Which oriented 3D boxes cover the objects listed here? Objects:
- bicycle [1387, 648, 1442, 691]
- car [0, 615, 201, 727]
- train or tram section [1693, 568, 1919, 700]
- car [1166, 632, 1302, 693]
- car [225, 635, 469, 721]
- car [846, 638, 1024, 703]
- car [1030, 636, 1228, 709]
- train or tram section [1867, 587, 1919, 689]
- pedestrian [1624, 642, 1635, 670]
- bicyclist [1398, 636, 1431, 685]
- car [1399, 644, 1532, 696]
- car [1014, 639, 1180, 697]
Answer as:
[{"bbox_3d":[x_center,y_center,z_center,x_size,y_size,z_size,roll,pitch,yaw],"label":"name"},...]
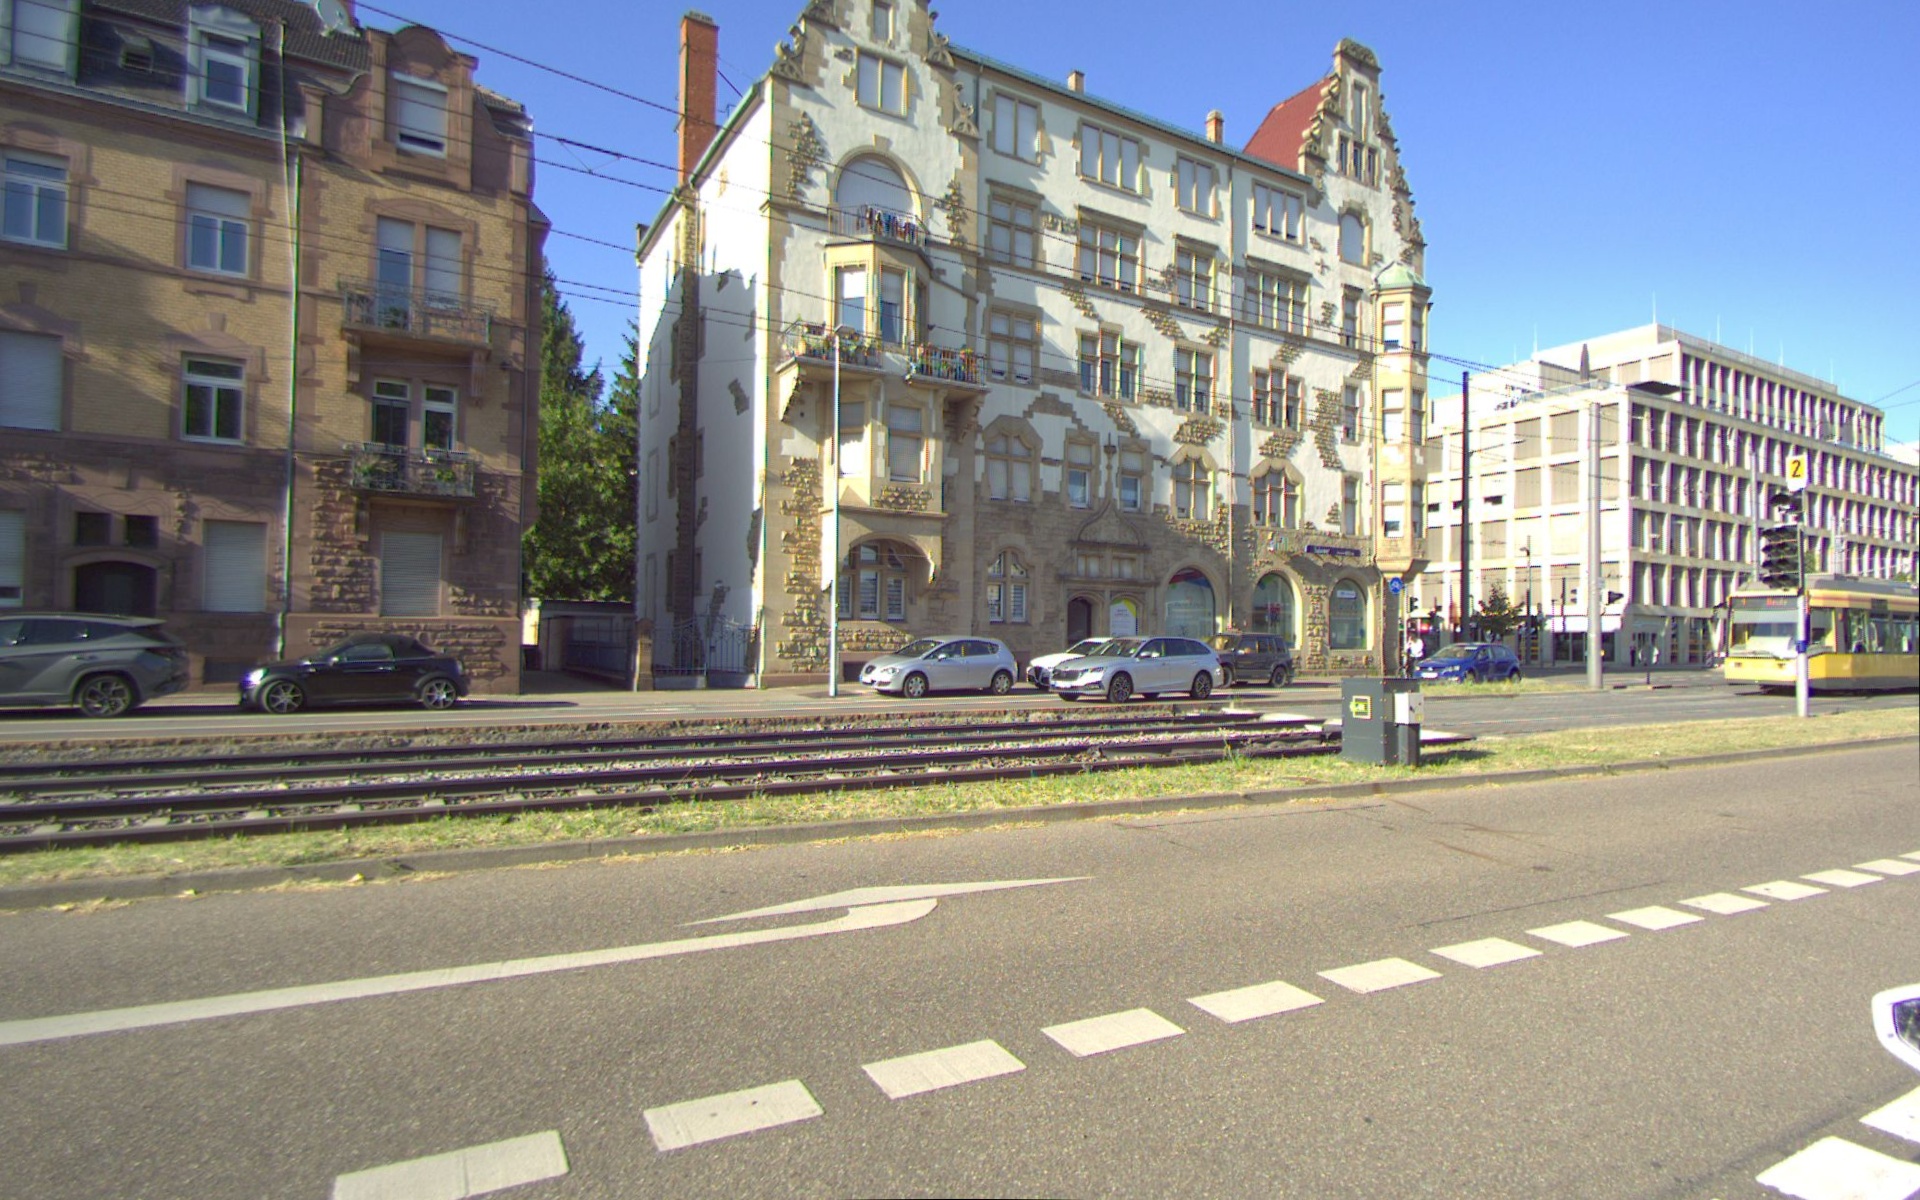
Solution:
[{"bbox_3d":[15.176,2.311,33.522,1.924,1.400,0.682,2,-3,-30],"label":"bicycle"},{"bbox_3d":[-15.177,1.101,16.220,4.453,1.644,1.846,2,1,-32],"label":"car"},{"bbox_3d":[27.738,1.132,31.525,13.052,3.535,2.799,2,-3,-31],"label":"train or tram section"},{"bbox_3d":[8.514,1.893,31.124,4.171,1.698,1.707,2,0,-33],"label":"car"},{"bbox_3d":[-11.203,1.384,18.573,3.685,1.372,1.613,2,0,-32],"label":"car"},{"bbox_3d":[-0.593,1.717,25.177,4.179,1.450,1.699,2,0,-33],"label":"car"},{"bbox_3d":[3.875,1.592,22.669,4.497,1.476,1.808,2,-3,-36],"label":"car"},{"bbox_3d":[38.916,1.515,38.282,13.052,3.535,2.799,2,-3,-31],"label":"train or tram section"},{"bbox_3d":[45.294,3.780,67.957,0.464,1.867,0.443,-1,-2,22],"label":"pedestrian"},{"bbox_3d":[15.162,2.012,33.525,0.776,1.583,0.682,2,-3,-29],"label":"bicyclist"},{"bbox_3d":[15.591,2.124,30.946,4.111,1.476,1.810,2,-3,-32],"label":"car"},{"bbox_3d":[3.894,1.872,28.222,4.605,1.442,1.707,2,0,-33],"label":"car"}]
